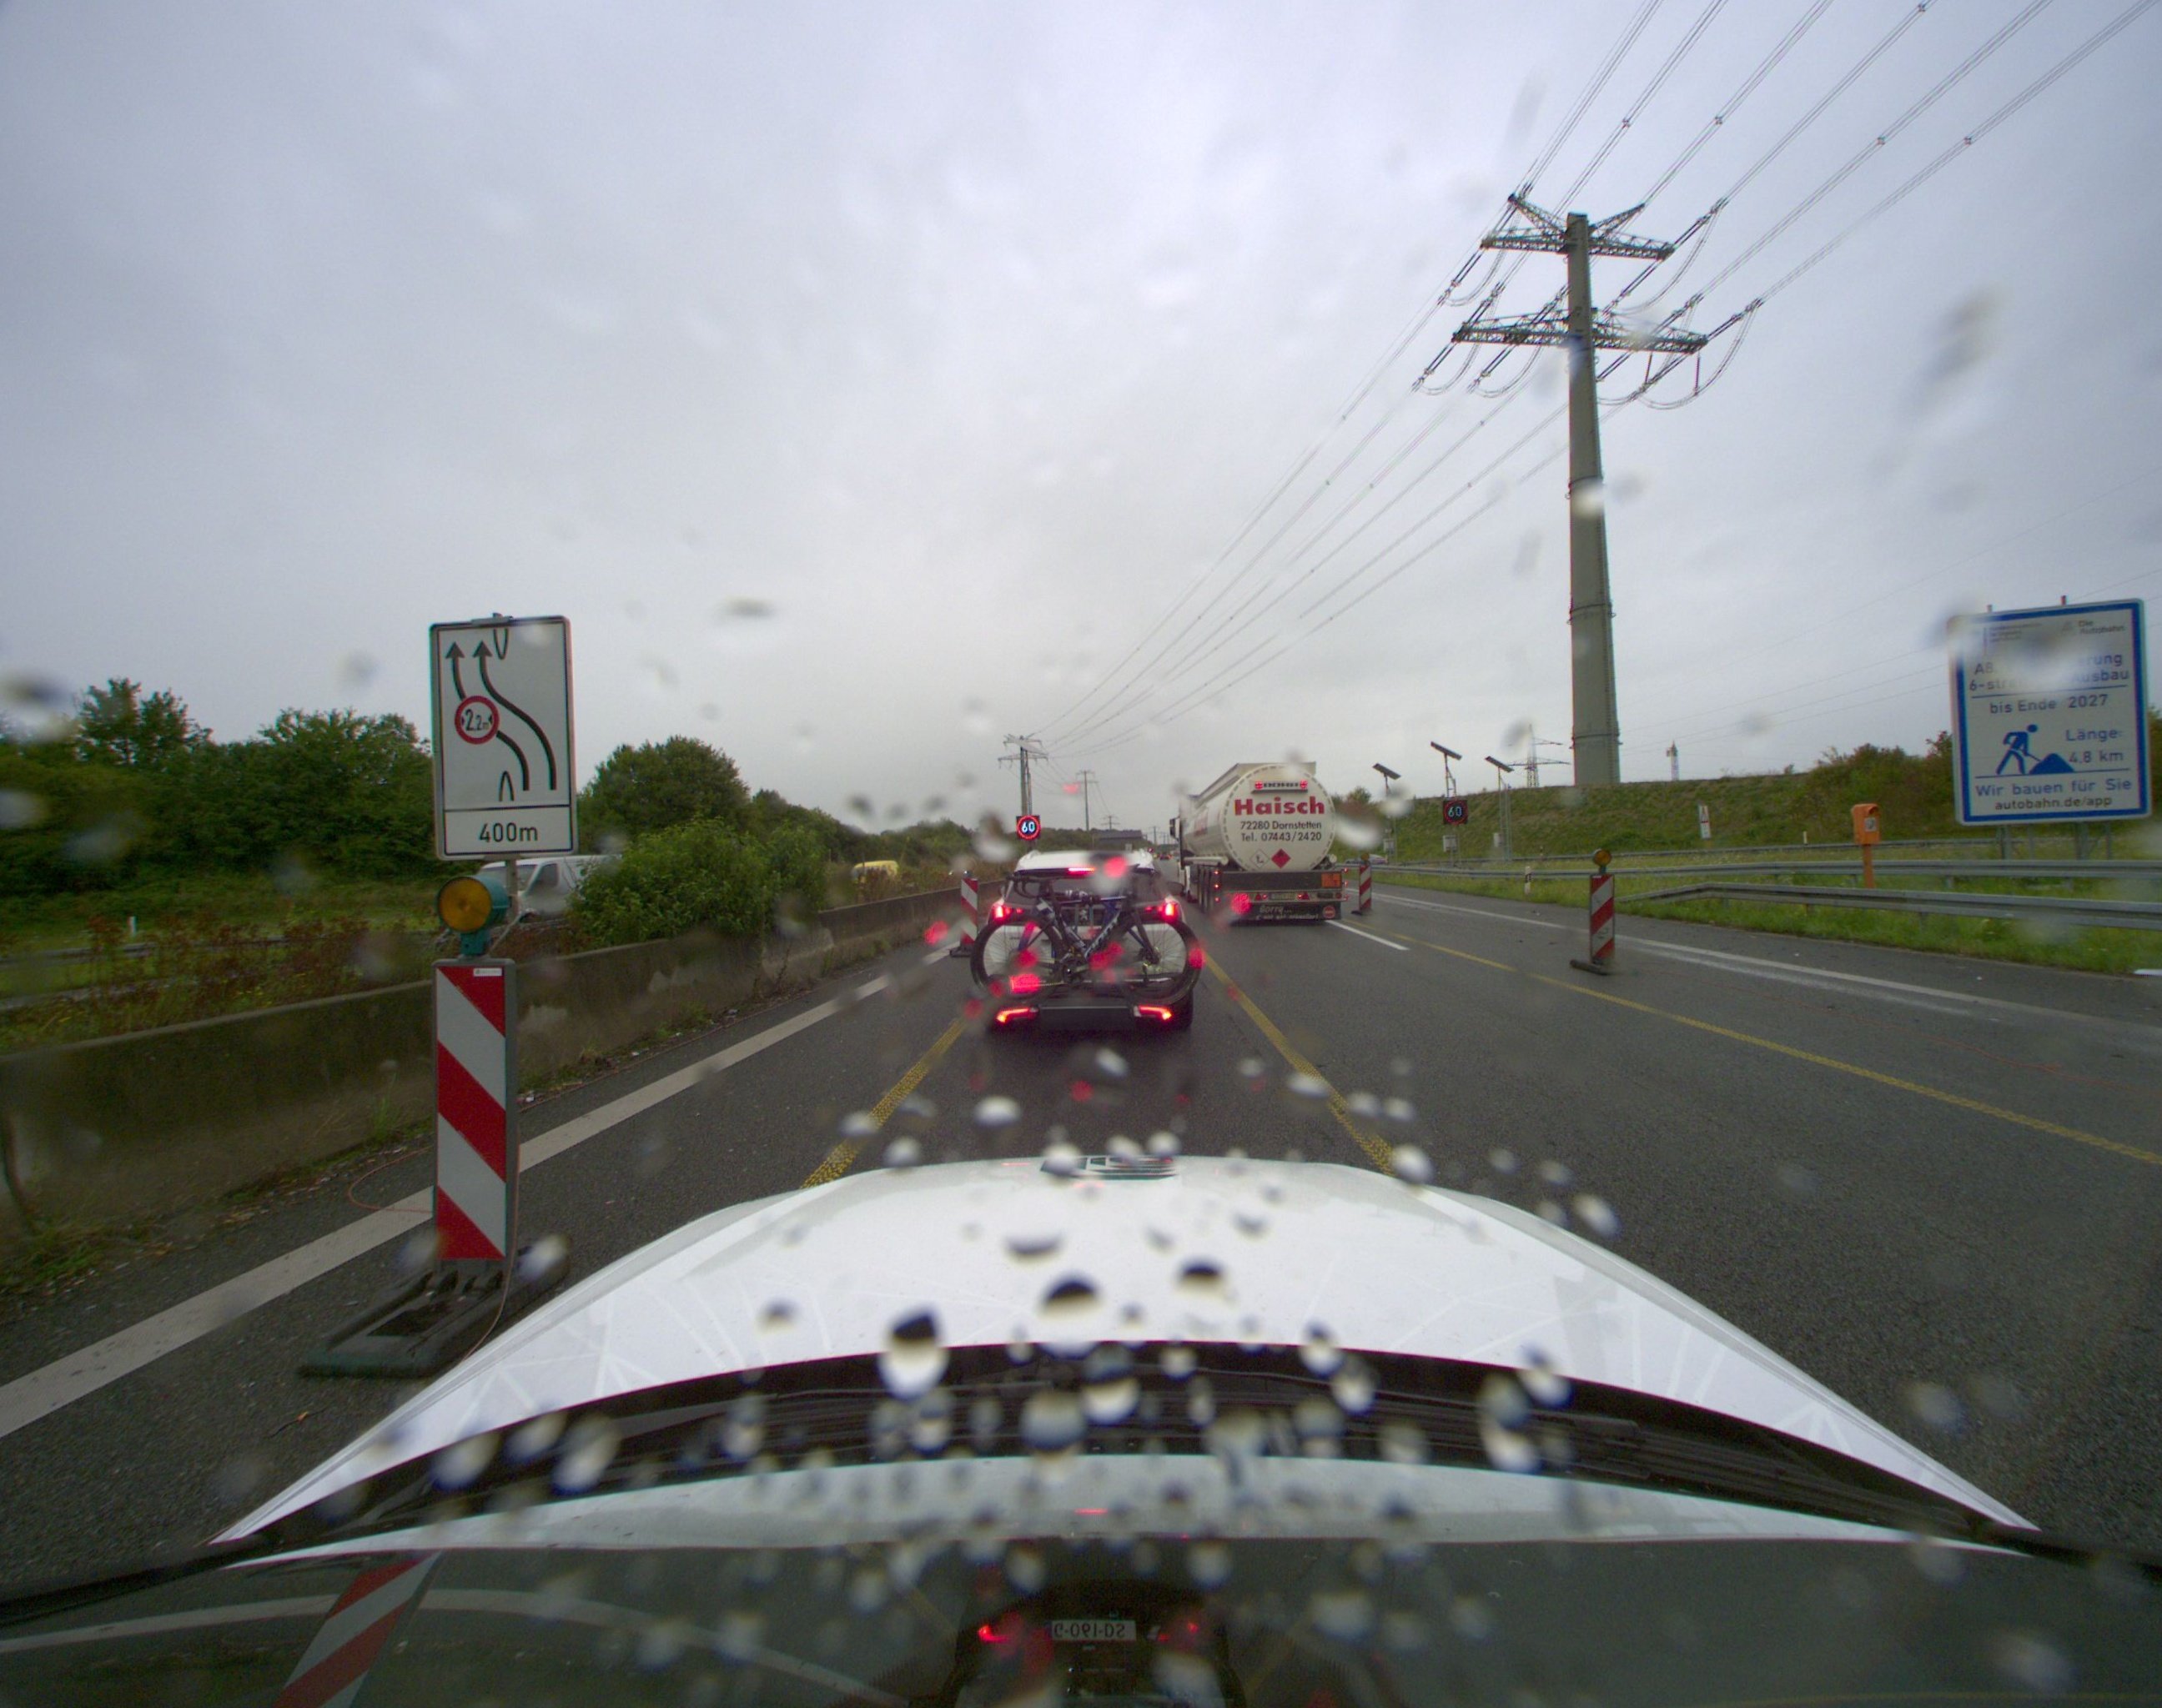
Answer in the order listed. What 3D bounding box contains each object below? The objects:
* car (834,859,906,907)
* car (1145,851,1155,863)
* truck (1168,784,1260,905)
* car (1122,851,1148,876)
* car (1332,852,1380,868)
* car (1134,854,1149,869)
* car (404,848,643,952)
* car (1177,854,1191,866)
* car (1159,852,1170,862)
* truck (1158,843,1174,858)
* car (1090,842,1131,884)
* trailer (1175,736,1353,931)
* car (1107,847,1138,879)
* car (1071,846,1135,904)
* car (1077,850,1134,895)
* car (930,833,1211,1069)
[{"bbox_3d":[-10.241,1.361,39.948,1.985,2.047,4.782,-2,0,3],"label":"car"},{"bbox_3d":[12.027,0.449,141.455,1.645,2.013,4.007,-1,0,6],"label":"car"},{"bbox_3d":[4.500,-0.279,28.327,2.635,3.891,4.031,0,-1,2],"label":"truck"},{"bbox_3d":[4.494,0.783,68.352,1.986,2.014,4.001,0,-1,2],"label":"car"},{"bbox_3d":[22.074,0.489,65.442,1.488,1.161,3.880,-3,0,-20],"label":"car"},{"bbox_3d":[8.461,1.091,114.292,1.986,2.014,4.001,0,-1,2],"label":"car"},{"bbox_3d":[-15.252,1.105,22.902,2.229,2.440,5.891,-2,0,5],"label":"car"},{"bbox_3d":[17.712,1.062,140.328,1.986,2.013,4.002,-3,0,2],"label":"car"},{"bbox_3d":[17.722,0.579,172.810,1.986,2.014,4.001,0,-1,2],"label":"car"},{"bbox_3d":[22.815,-0.797,219.694,3.715,3.822,11.880,-2,-1,4],"label":"truck"},{"bbox_3d":[1.536,0.443,42.910,1.986,2.013,4.002,-3,0,2],"label":"car"},{"bbox_3d":[4.277,-0.352,21.583,2.628,3.893,10.547,0,-1,2],"label":"trailer"},{"bbox_3d":[2.832,0.588,55.916,1.986,2.013,4.002,-3,0,2],"label":"car"},{"bbox_3d":[0.819,0.668,28.308,1.985,1.760,4.004,-3,0,3],"label":"car"},{"bbox_3d":[0.941,0.650,31.064,1.986,1.584,4.002,-1,0,2],"label":"car"},{"bbox_3d":[0.087,0.675,7.901,1.919,1.611,4.600,-1,0,4],"label":"car"}]
